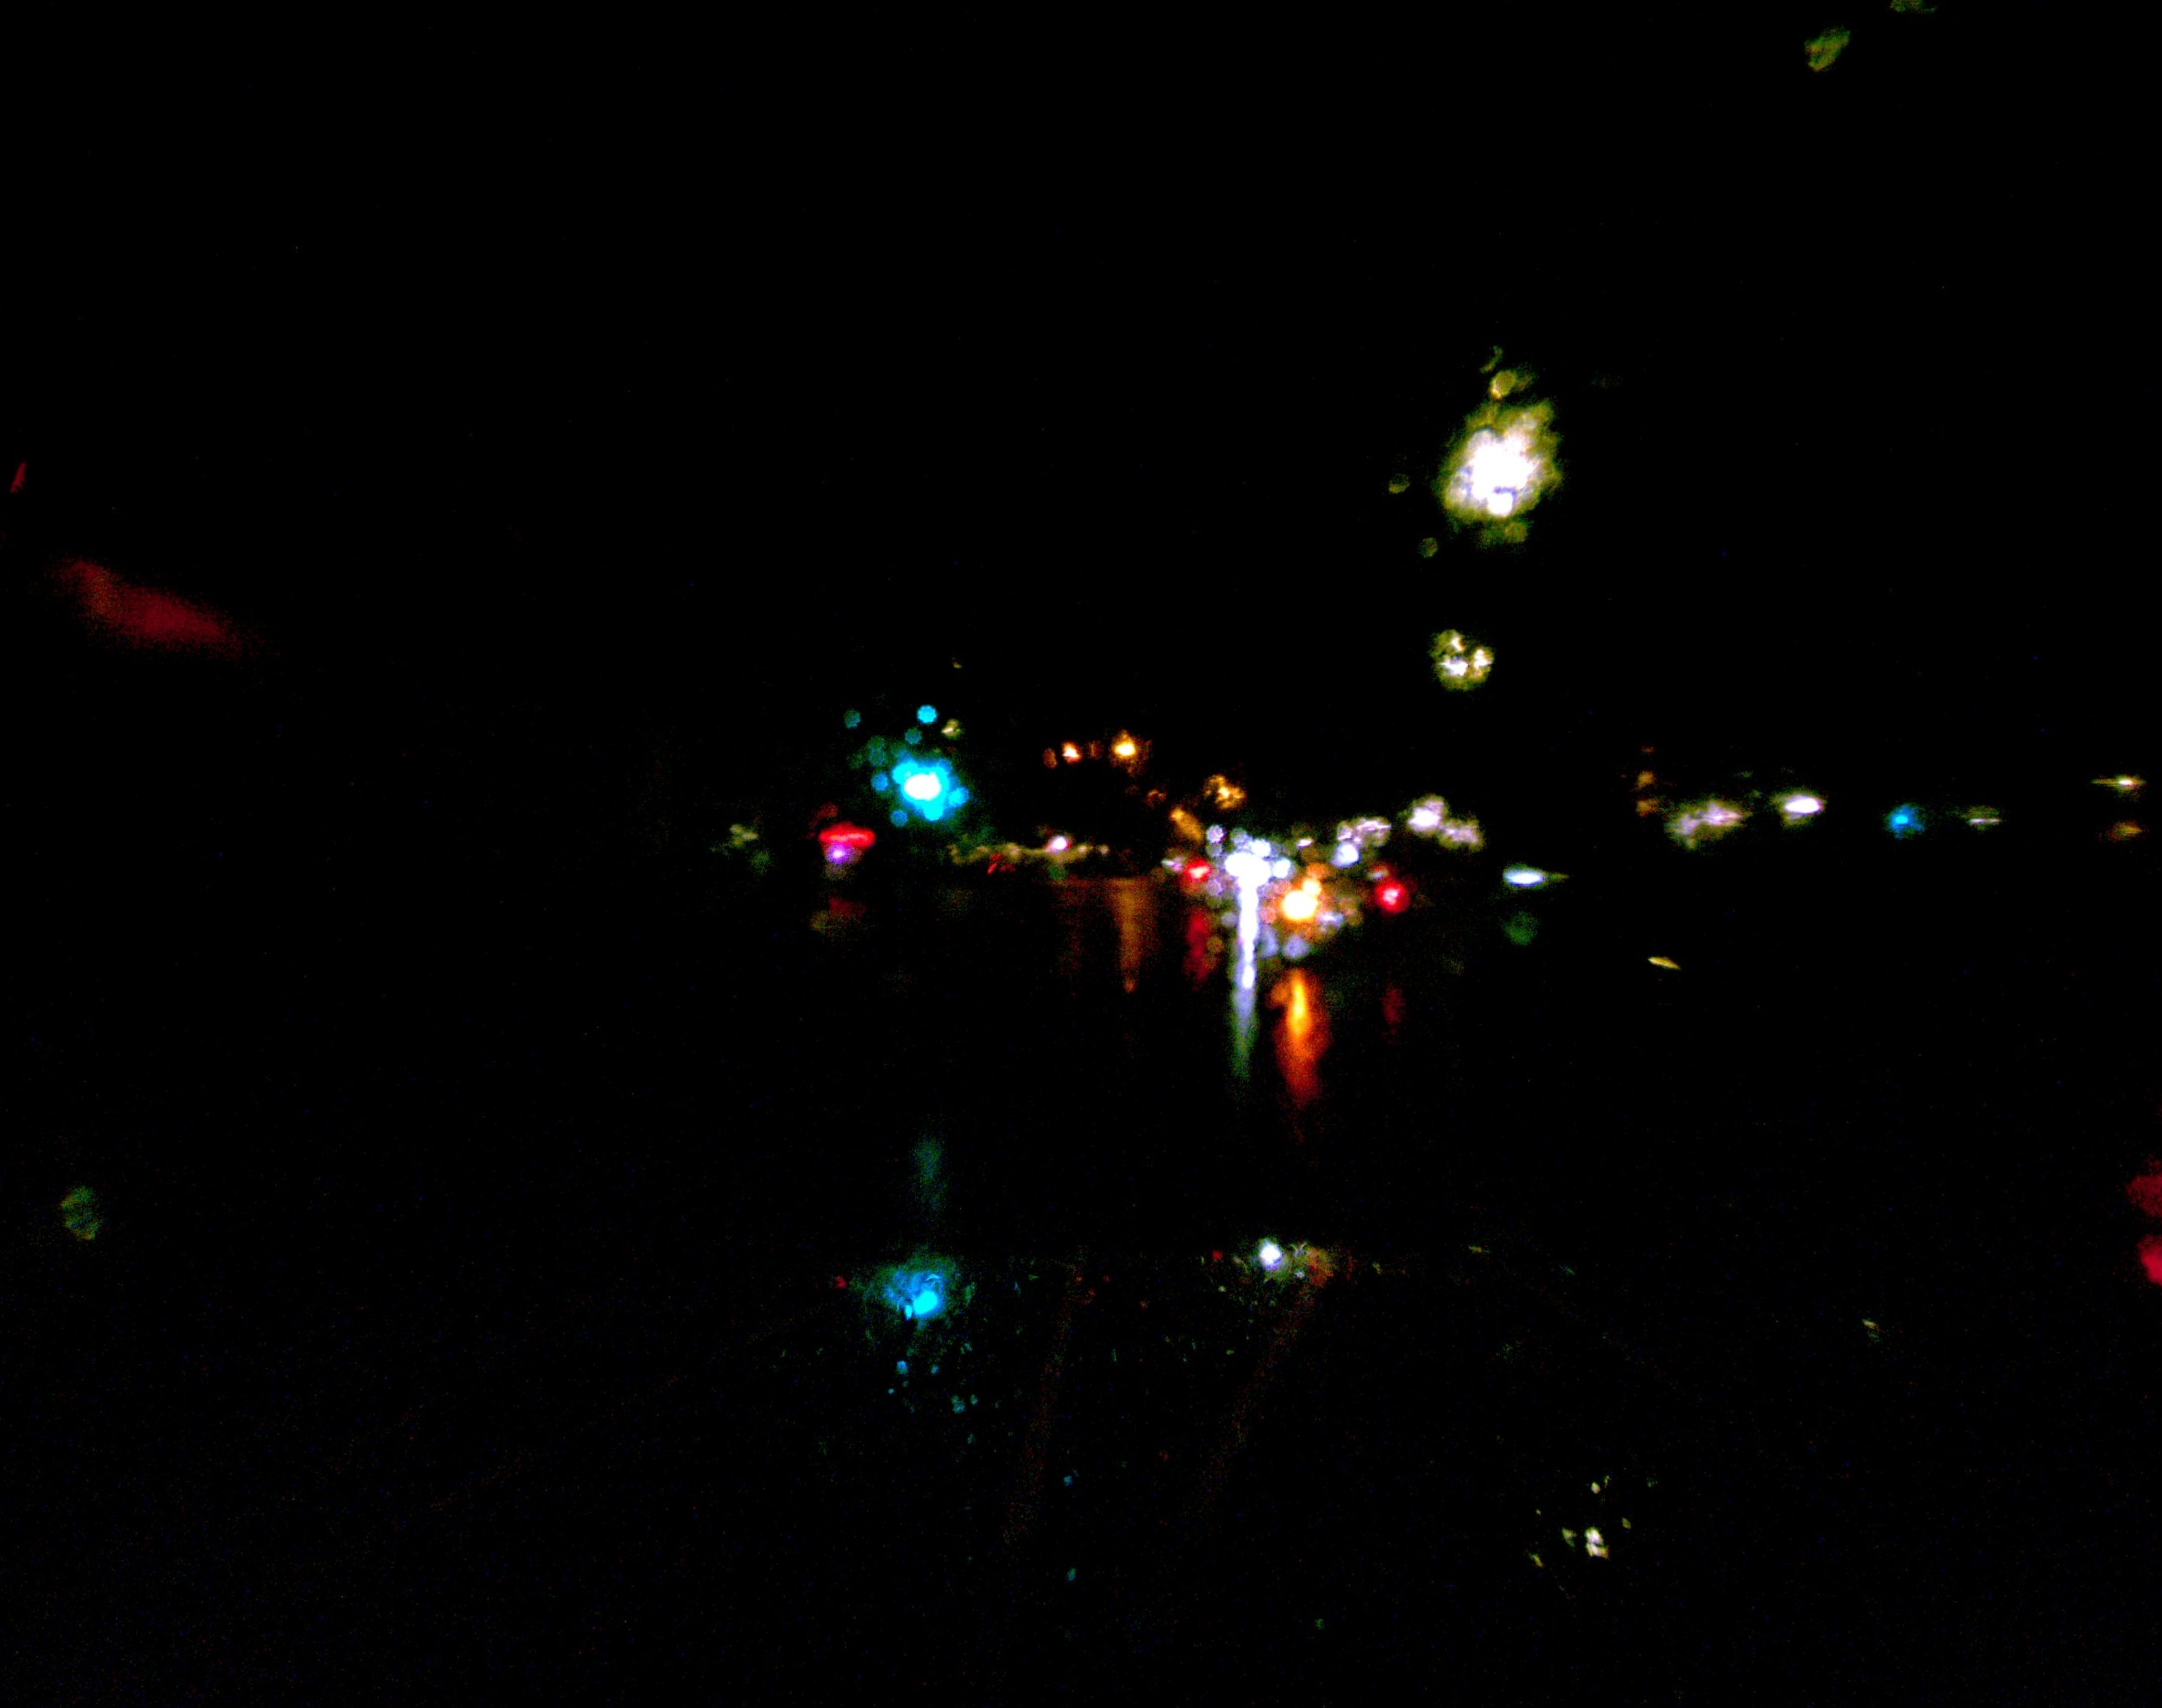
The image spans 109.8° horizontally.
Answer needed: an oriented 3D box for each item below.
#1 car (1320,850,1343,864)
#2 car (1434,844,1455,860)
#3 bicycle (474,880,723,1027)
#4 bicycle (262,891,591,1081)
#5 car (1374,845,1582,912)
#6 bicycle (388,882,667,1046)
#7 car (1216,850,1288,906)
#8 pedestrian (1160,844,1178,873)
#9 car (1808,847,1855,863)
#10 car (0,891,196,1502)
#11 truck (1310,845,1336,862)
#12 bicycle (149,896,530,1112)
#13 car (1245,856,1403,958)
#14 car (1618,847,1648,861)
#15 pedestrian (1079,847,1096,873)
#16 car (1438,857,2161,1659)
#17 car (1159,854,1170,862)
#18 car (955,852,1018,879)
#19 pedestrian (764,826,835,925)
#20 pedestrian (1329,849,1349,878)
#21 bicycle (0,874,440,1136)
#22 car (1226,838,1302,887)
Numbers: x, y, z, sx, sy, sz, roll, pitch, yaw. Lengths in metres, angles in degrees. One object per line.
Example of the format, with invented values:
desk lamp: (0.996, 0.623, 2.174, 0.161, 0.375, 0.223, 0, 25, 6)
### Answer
car: (27.172, 0.347, 82.369, 1.714, 1.423, 3.926, -1, 0, 29)
car: (41.709, -0.242, 87.132, 1.865, 1.750, 4.502, -1, 0, 28)
bicycle: (-4.514, 0.910, 7.190, 1.901, 1.244, 0.710, 1, 1, 1)
bicycle: (-4.731, 0.928, 5.567, 1.901, 1.244, 0.596, 1, 1, 1)
car: (10.306, 0.572, 20.181, 1.826, 1.533, 4.715, -1, 0, -27)
bicycle: (-4.577, 0.888, 6.354, 1.901, 1.244, 0.596, 1, 1, 1)
car: (5.158, 0.664, 23.394, 1.672, 1.553, 4.009, -1, 0, 6)
pedestrian: (5.665, 0.299, 48.939, 1.109, 1.815, 0.852, 0, 0, 12)
car: (69.584, 0.061, 70.524, 1.865, 1.434, 4.502, -1, 0, 28)
car: (-4.452, 0.826, 0.814, 4.193, 1.449, 1.852, 1, 0, -32)
truck: (29.813, -0.081, 93.531, 2.124, 2.001, 5.272, -1, -1, 28)
bicycle: (-4.744, 0.934, 4.938, 1.901, 1.244, 0.596, 1, 1, 1)
car: (3.916, 0.773, 12.933, 1.672, 1.412, 4.098, -1, 0, 5)
car: (56.993, -0.009, 78.490, 1.865, 1.434, 4.502, -1, 0, 28)
pedestrian: (0.456, 0.442, 54.030, 1.109, 1.815, 0.852, 0, 0, 10)
car: (3.148, 0.817, 2.723, 1.791, 1.545, 4.856, -1, 0, 5)
car: (15.212, 0.698, 138.386, 1.825, 1.521, 4.786, 0, 0, 9)
car: (-5.726, 0.652, 45.626, 1.716, 1.533, 3.977, -1, 1, -43)
pedestrian: (-5.893, 0.452, 15.949, 1.014, 2.002, 0.977, -1, 0, 9)
pedestrian: (15.568, 0.574, 45.851, 0.769, 1.726, 0.971, 0, 1, 43)
bicycle: (-4.903, 0.825, 4.395, 1.901, 1.352, 0.596, 1, 1, 1)
car: (7.745, 0.385, 32.699, 2.039, 1.942, 5.200, 0, -1, 1)
